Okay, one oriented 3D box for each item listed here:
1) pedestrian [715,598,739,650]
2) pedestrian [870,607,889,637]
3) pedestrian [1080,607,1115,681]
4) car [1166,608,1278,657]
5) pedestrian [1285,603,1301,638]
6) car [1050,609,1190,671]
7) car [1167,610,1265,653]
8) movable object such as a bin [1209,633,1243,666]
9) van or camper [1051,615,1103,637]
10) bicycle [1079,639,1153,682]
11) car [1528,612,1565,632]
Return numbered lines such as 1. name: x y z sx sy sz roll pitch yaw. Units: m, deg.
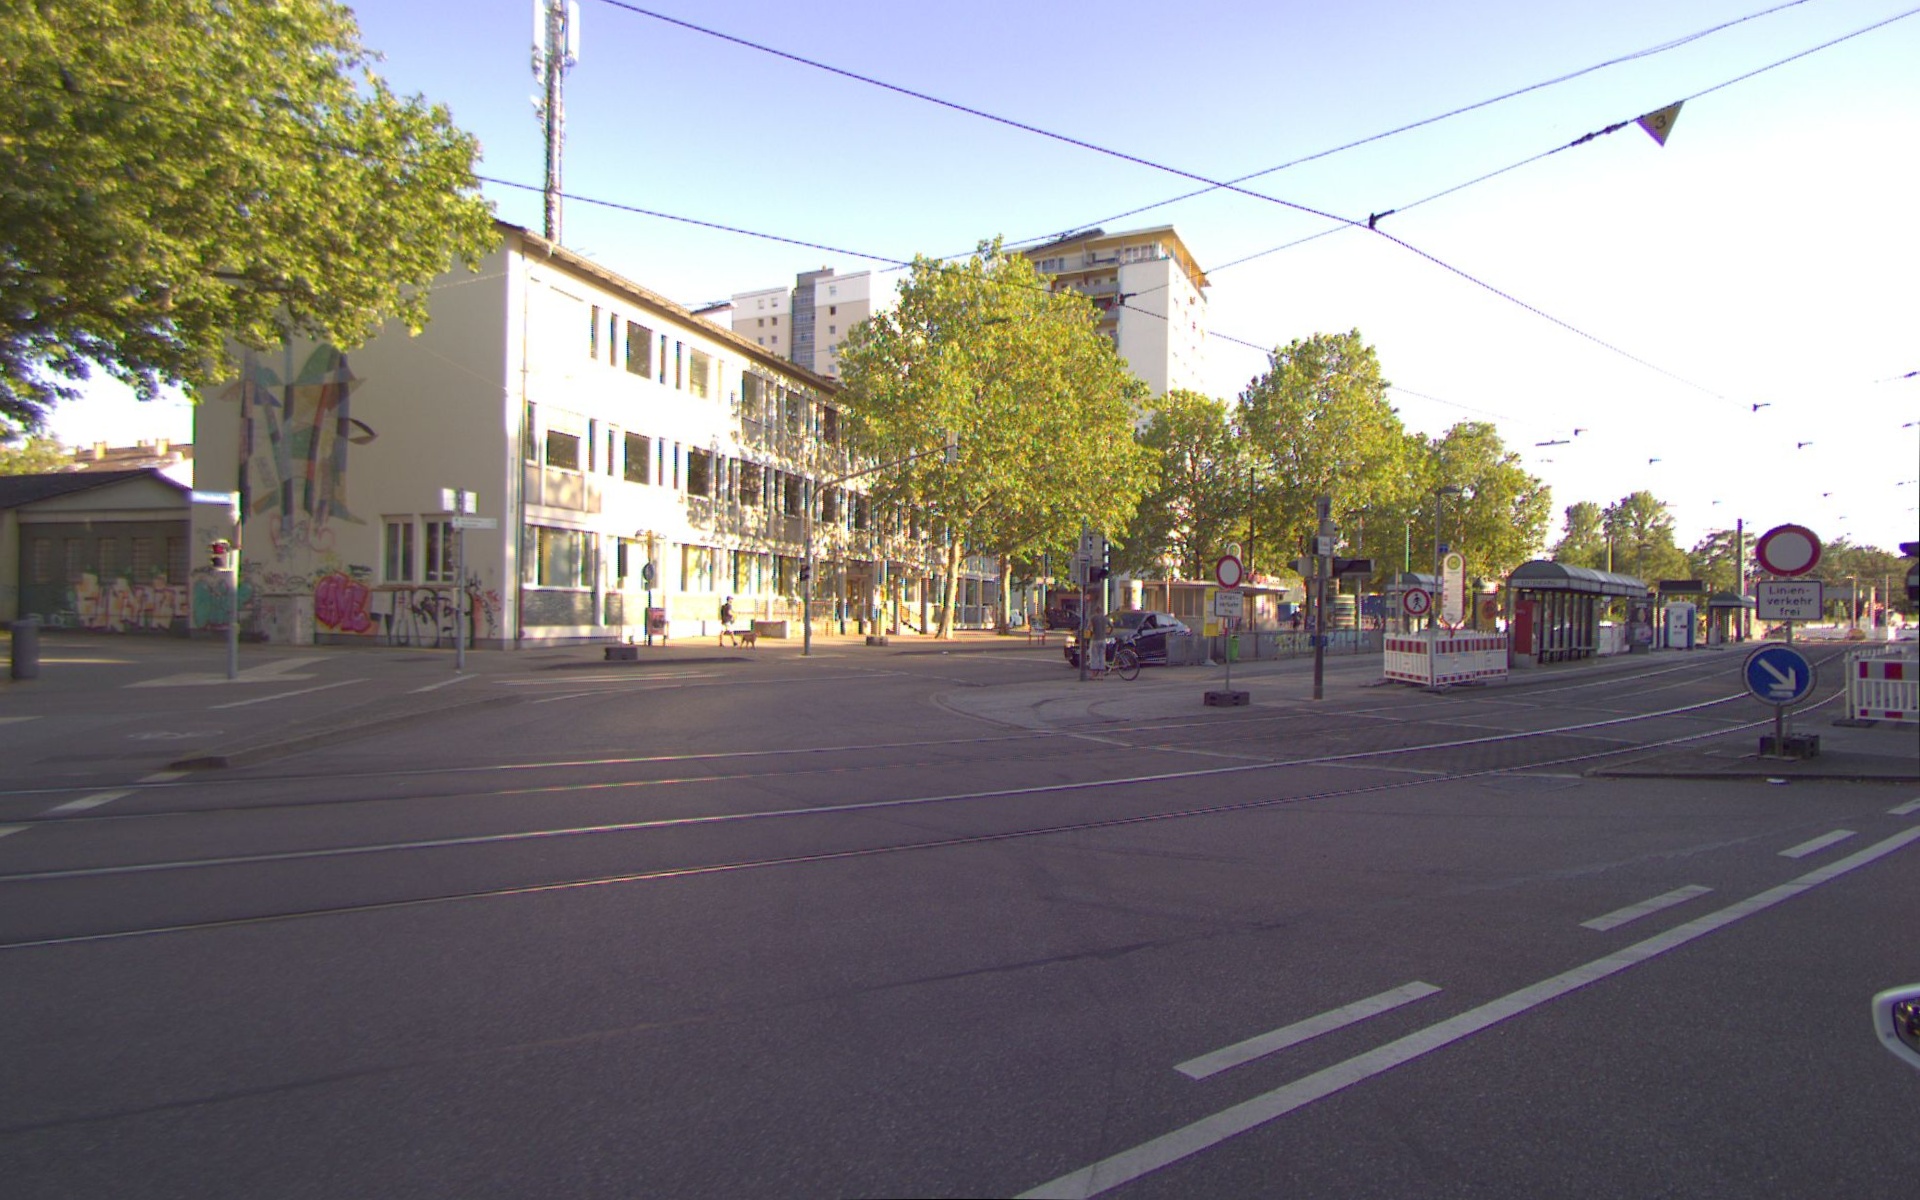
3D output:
1. pedestrian: -7.962 0.813 34.298 0.664 1.733 0.431 2 2 26
2. pedestrian: -3.955 1.091 49.266 0.663 1.414 0.693 2 2 18
3. pedestrian: 3.295 1.037 24.034 0.712 1.748 0.397 1 0 43
4. car: 9.137 1.111 34.847 4.179 1.551 1.867 2 -1 -45
5. pedestrian: 19.229 1.178 58.001 0.698 2.040 0.740 1 0 37
6. car: 4.664 1.115 28.876 4.179 1.606 1.867 2 -1 -45
7. car: 10.129 1.228 39.621 4.179 1.551 1.867 2 -1 -45
8. movable object such as a bin: 7.653 1.420 28.895 0.697 0.878 0.664 0 2 -44
9. van or camper: 9.135 2.041 78.722 3.919 1.572 1.830 1 0 5
10. bicycle: 3.742 1.443 24.218 1.821 0.955 0.461 1 0 44
11. car: 47.593 1.777 81.482 1.864 1.551 4.185 1 -1 41
